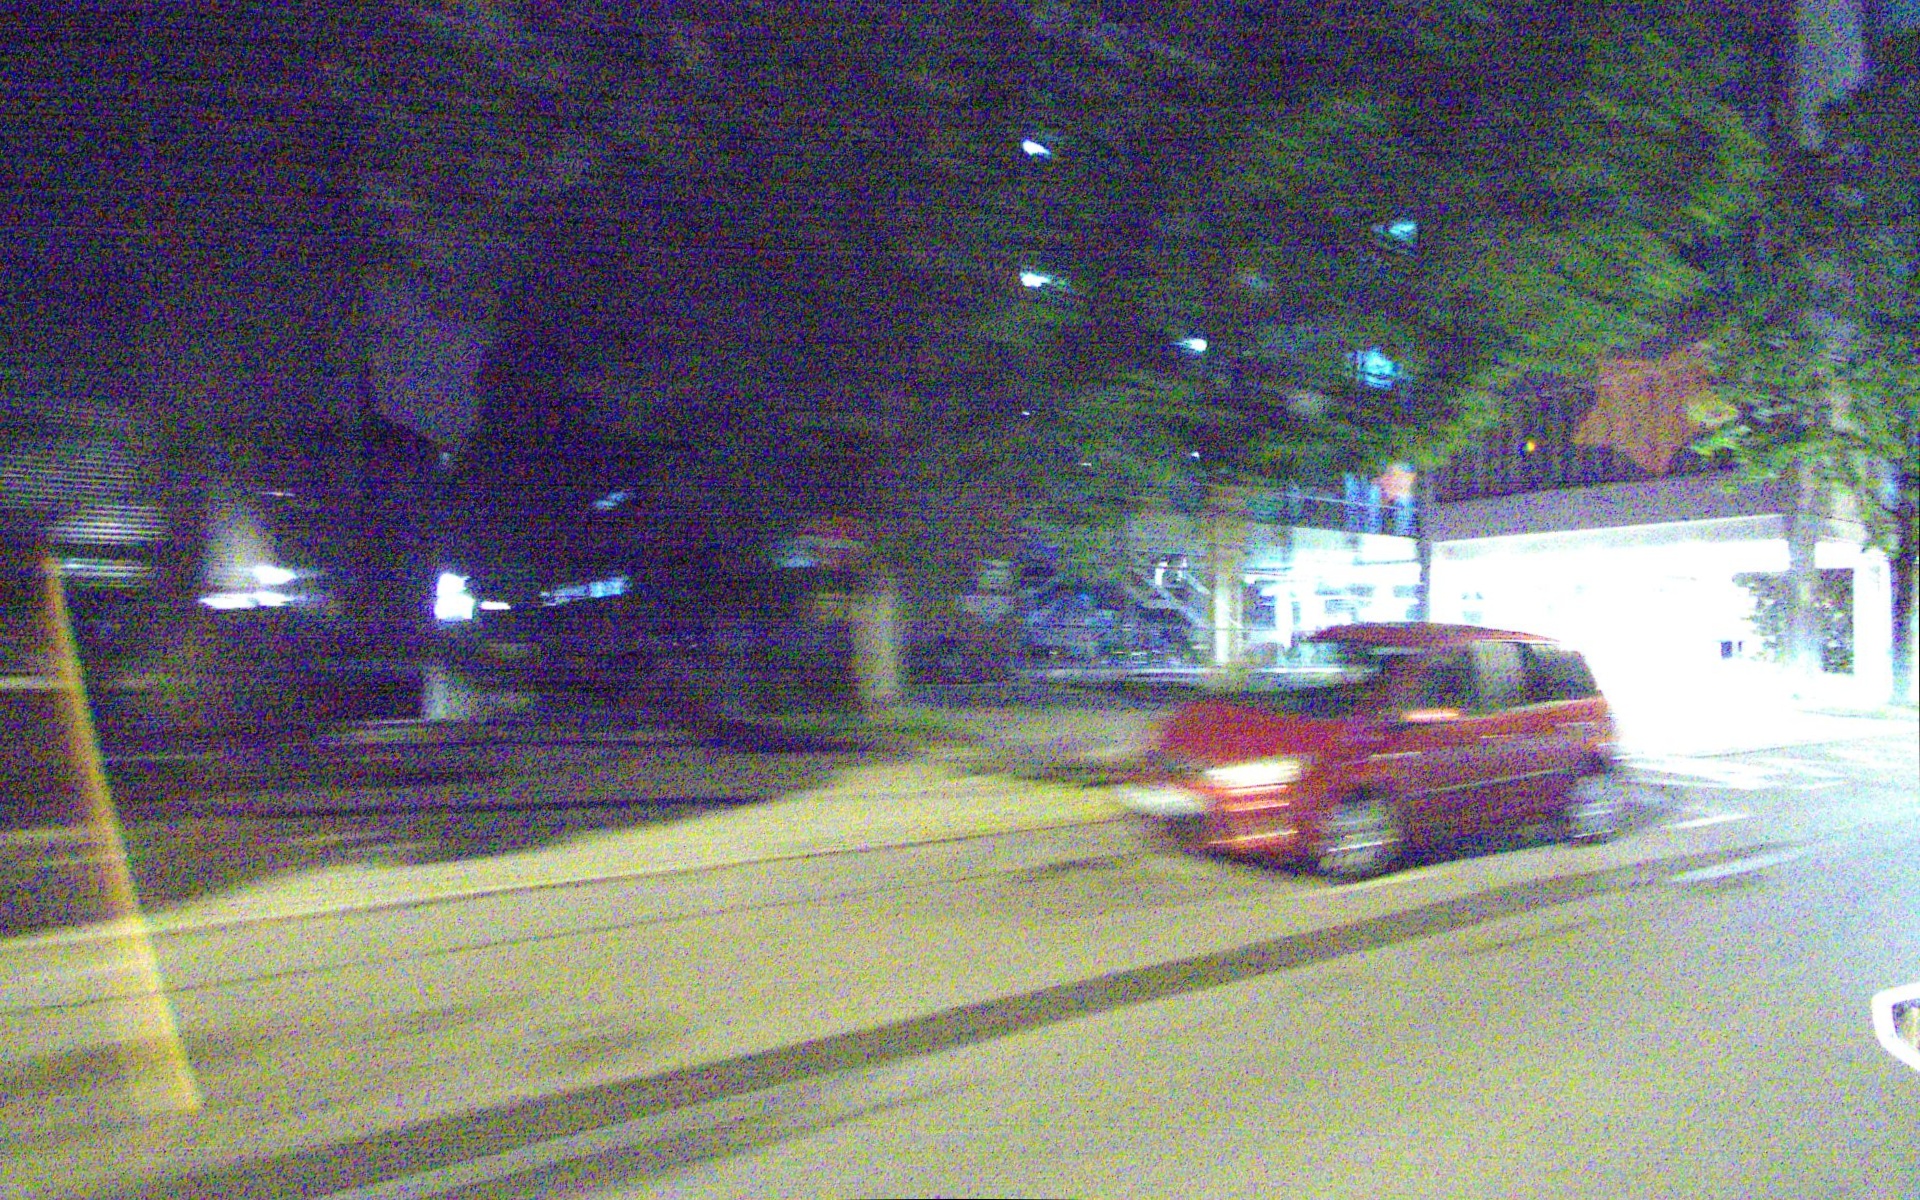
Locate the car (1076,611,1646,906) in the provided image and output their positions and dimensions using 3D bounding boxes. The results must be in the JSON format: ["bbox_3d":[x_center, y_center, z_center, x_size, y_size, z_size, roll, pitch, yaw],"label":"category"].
[{"bbox_3d":[3.064,0.961,7.558,4.023,1.620,1.814,1,2,-29],"label":"car"}]
